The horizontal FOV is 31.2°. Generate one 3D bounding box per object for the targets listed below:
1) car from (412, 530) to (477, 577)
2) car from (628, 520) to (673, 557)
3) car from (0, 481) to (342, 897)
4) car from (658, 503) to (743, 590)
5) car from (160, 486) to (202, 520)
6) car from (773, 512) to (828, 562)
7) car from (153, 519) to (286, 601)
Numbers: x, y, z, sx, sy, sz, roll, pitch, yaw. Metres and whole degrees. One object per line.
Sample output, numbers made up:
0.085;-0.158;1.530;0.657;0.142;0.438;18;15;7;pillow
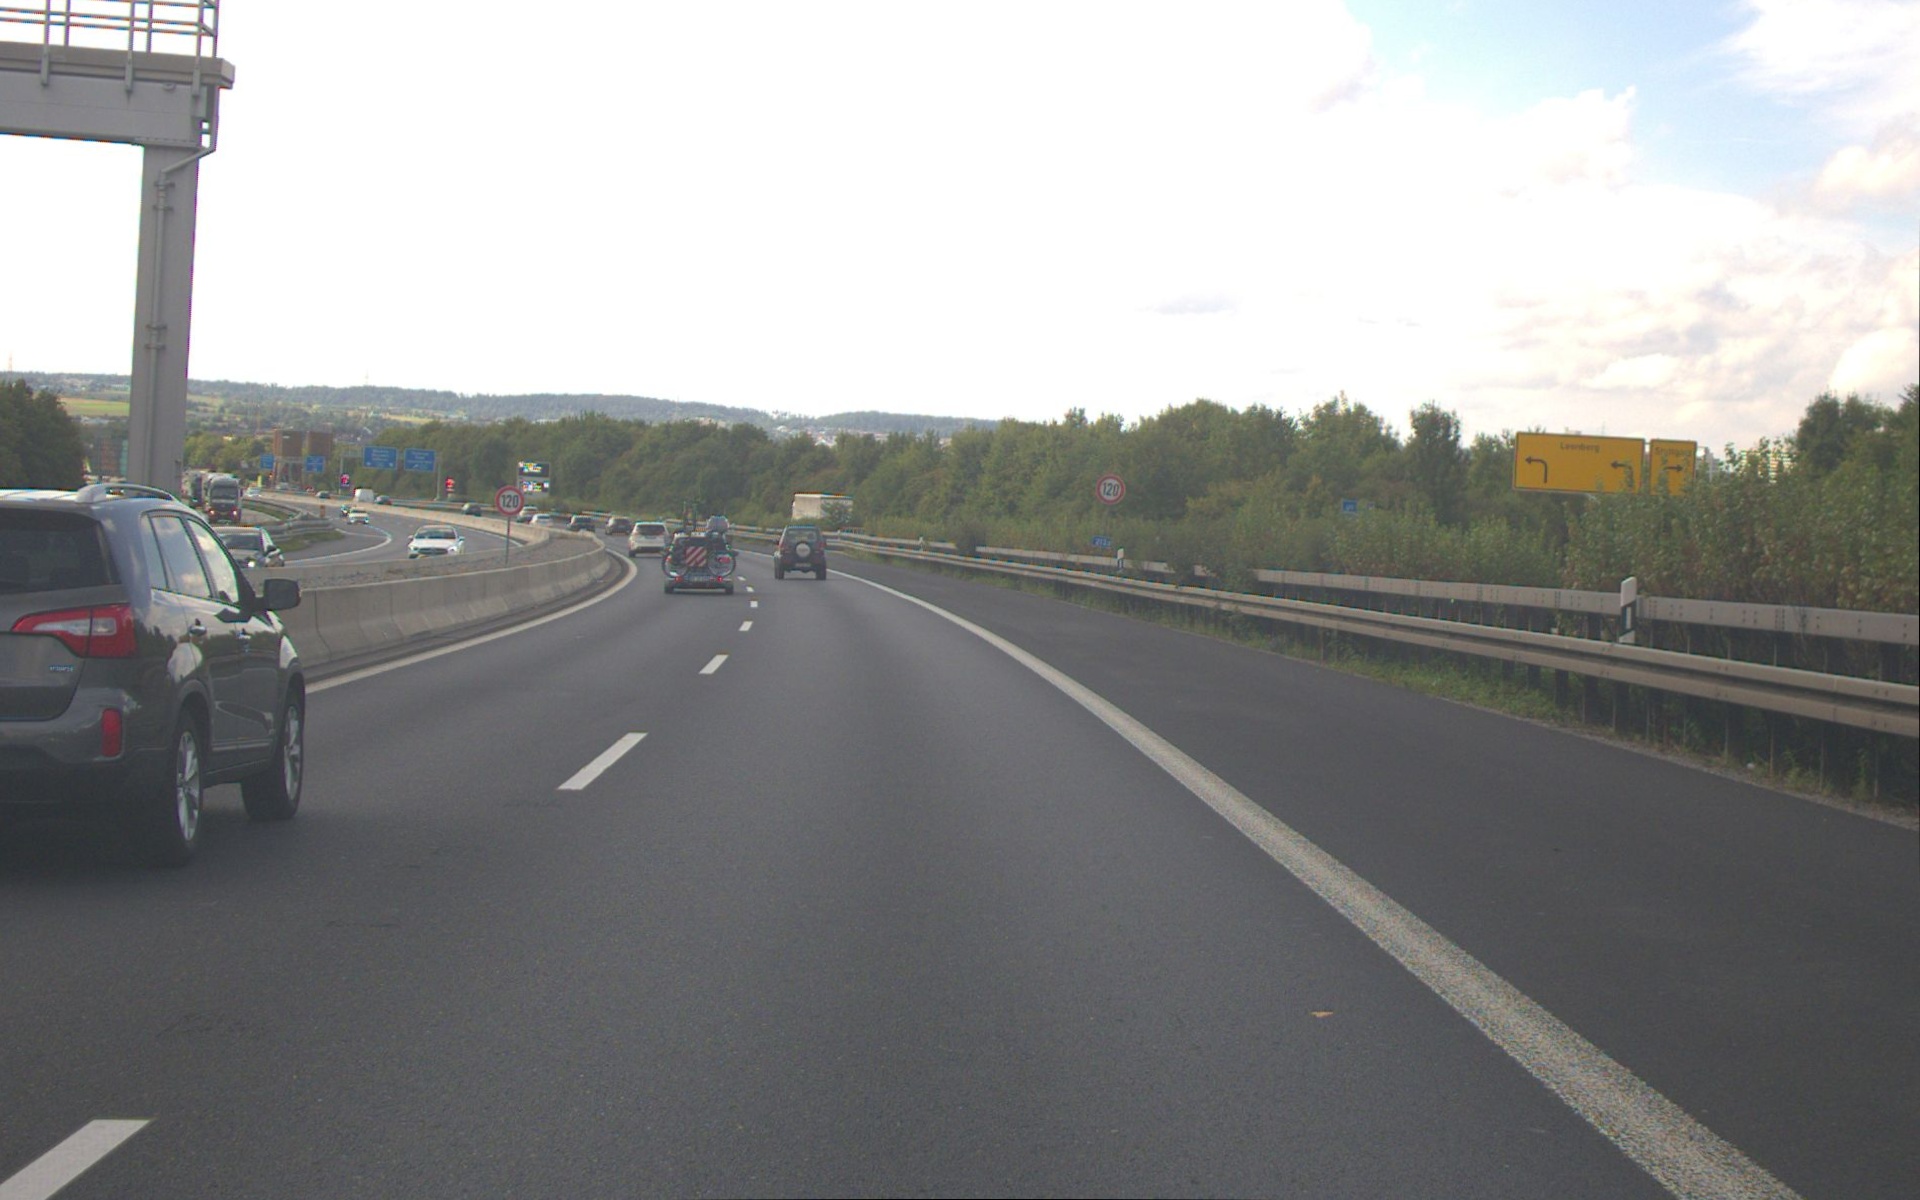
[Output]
-18.392;-1.674;122.769;1.764;1.575;4.933;1;1;-2;car
-14.951;-2.966;165.759;1.993;1.678;4.001;1;0;-7;car
-4.361;0.314;16.927;1.817;1.730;5.187;1;1;-2;car
-6.640;-1.394;88.256;2.030;2.144;4.001;1;2;-3;car
-48.053;-5.976;212.135;1.993;2.007;4.001;1;1;-5;car
-5.268;-2.088;113.230;1.587;1.591;4.097;1;1;-5;car
-15.459;-0.856;71.929;1.993;1.635;4.000;1;1;-2;car
